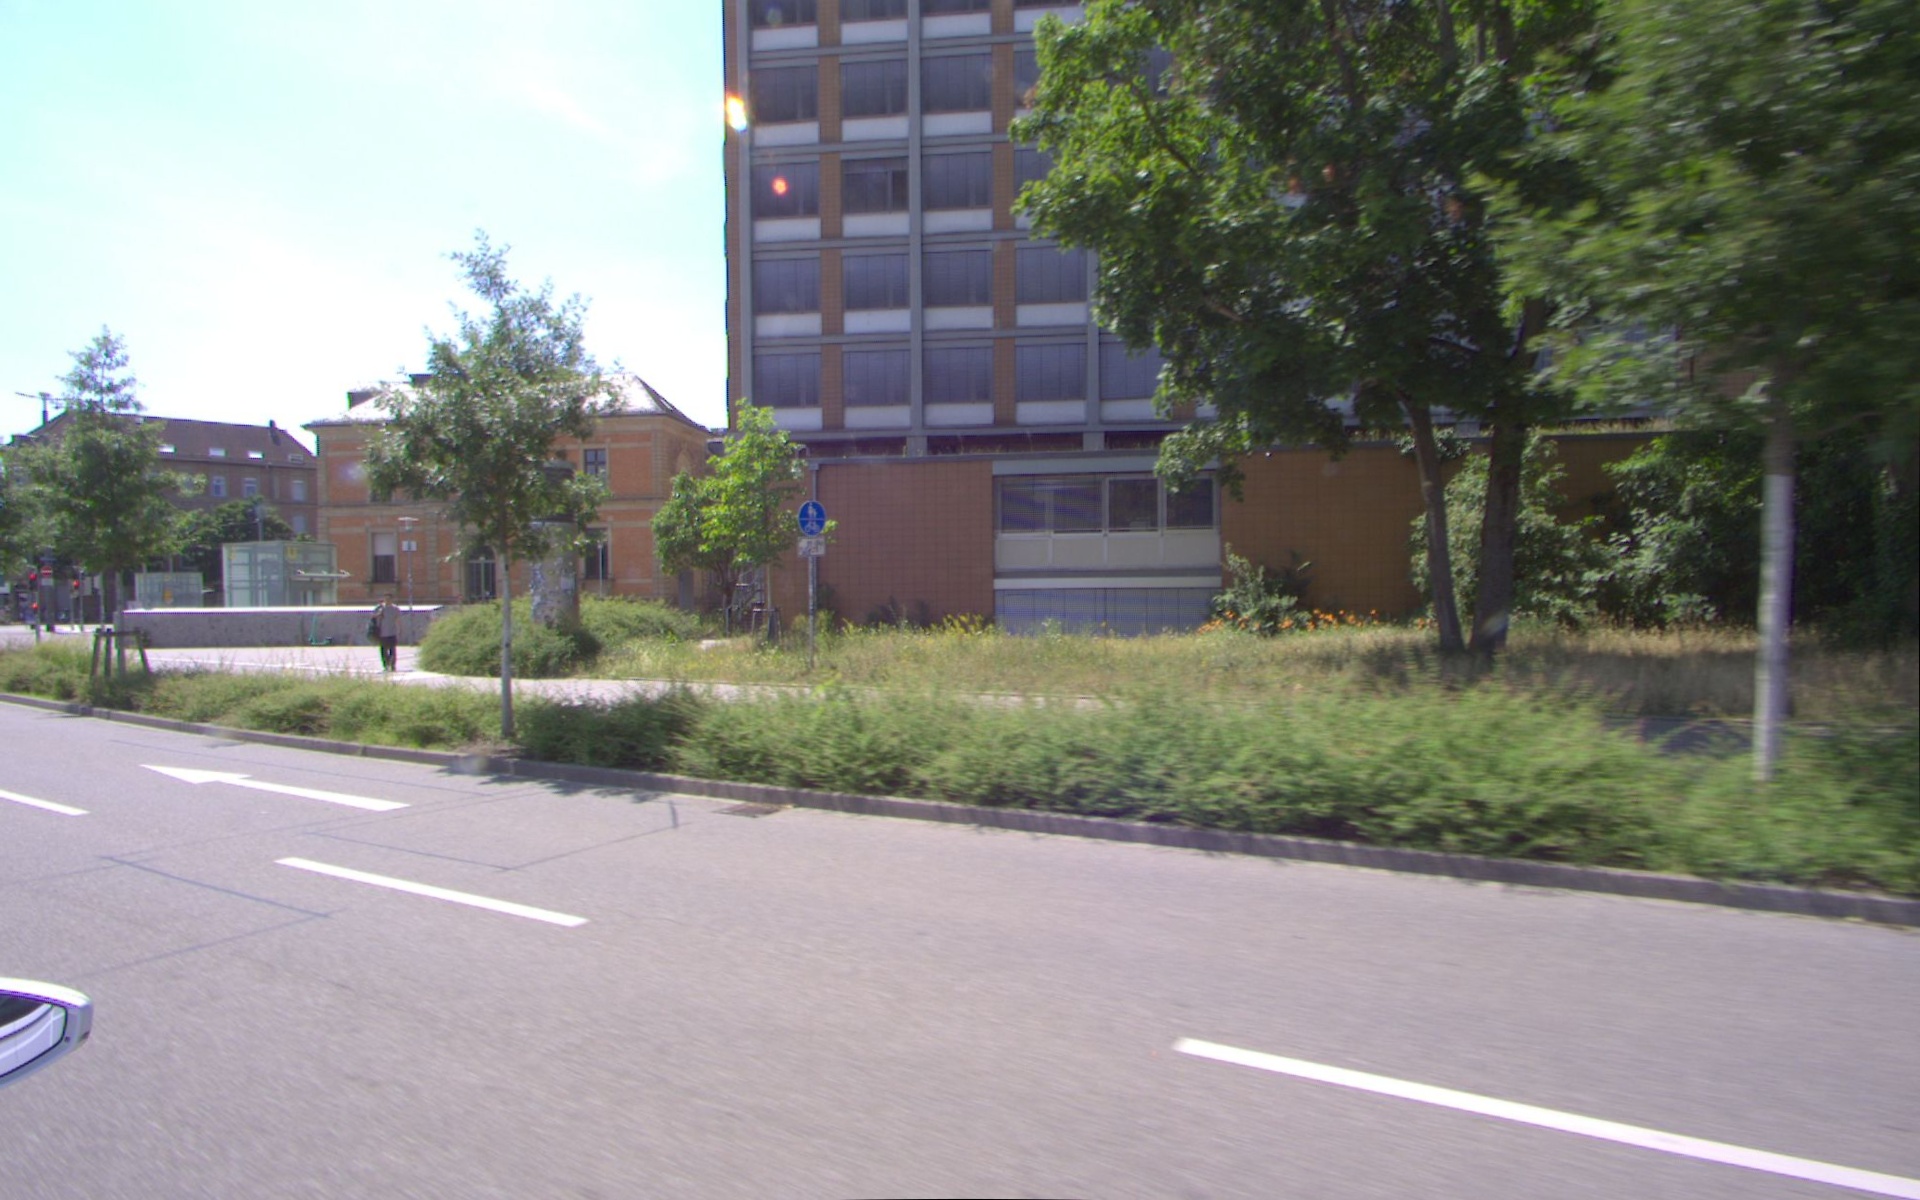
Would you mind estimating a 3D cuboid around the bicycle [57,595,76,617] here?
[{"bbox_3d":[-75.867,0.491,85.006,3.140,1.812,0.610,2,1,38],"label":"bicycle"}]

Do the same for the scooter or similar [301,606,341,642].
[{"bbox_3d":[-21.814,0.821,34.199,1.266,1.183,0.397,2,1,15],"label":"scooter or similar"}]

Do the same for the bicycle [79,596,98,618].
[{"bbox_3d":[-74.949,0.588,86.102,3.140,1.812,0.610,2,1,38],"label":"bicycle"}]

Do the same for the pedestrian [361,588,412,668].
[{"bbox_3d":[-12.689,0.615,22.159,0.800,1.728,0.729,1,0,38],"label":"pedestrian"}]
